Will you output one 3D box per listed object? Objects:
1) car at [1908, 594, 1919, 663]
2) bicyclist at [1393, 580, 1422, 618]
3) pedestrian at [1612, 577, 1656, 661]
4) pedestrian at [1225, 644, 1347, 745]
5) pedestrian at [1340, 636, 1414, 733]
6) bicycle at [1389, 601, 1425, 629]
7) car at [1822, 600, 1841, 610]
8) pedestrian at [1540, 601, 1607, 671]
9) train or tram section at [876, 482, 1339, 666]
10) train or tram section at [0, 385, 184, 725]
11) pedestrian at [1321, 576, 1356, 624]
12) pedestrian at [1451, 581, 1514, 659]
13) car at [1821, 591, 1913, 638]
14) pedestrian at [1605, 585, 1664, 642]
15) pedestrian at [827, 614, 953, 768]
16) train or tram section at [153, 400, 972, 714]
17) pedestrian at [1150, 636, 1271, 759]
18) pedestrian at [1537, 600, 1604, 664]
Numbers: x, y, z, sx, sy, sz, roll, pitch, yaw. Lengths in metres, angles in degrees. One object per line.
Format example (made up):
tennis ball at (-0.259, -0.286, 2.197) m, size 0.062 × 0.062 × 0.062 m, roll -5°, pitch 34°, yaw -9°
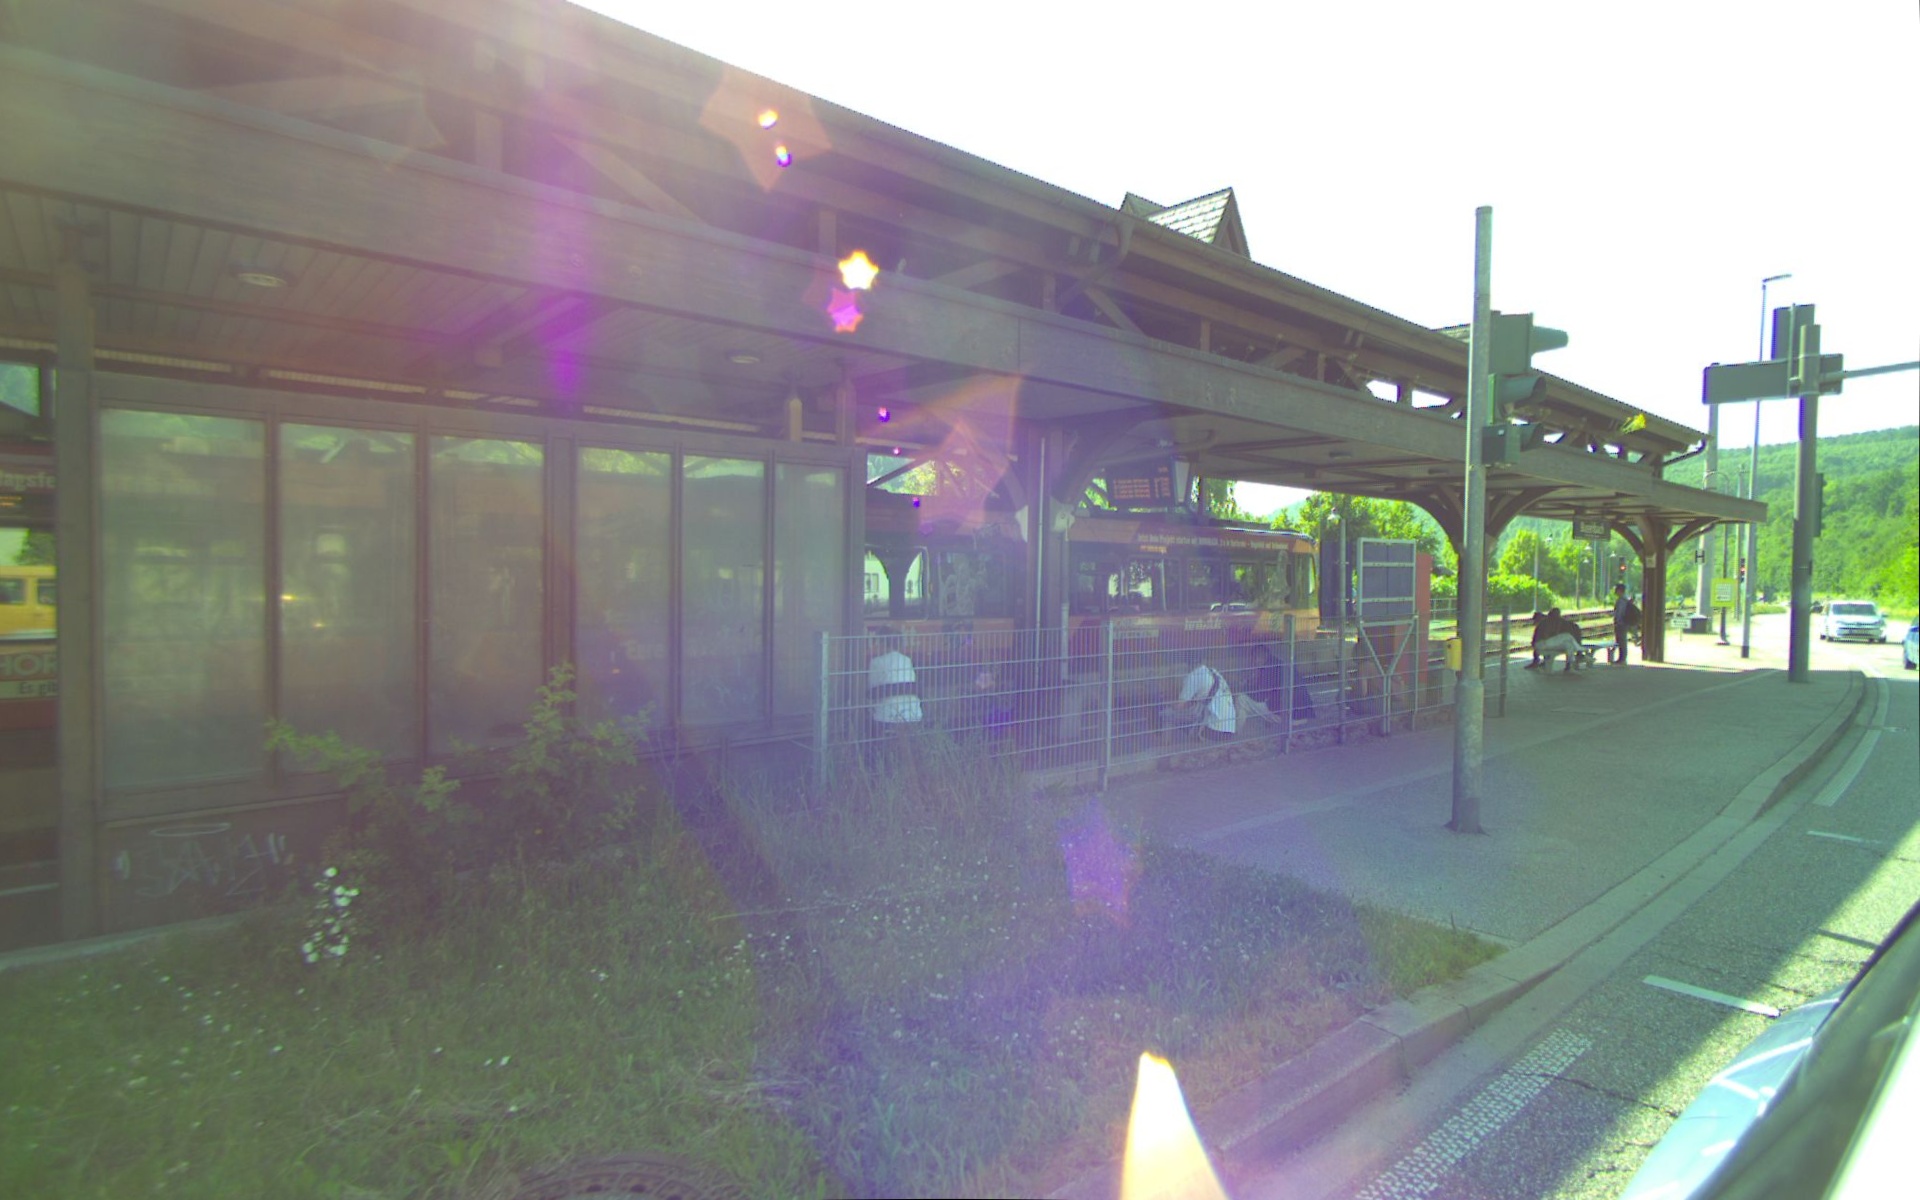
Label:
car at (21.441, 0.664, 21.169) m, size 1.856 × 1.501 × 4.244 m, roll 2°, pitch 2°, yaw 37°
bicyclist at (20.768, -0.027, 46.992) m, size 1.006 × 1.748 × 0.852 m, roll 0°, pitch -2°, yaw 43°
pedestrian at (14.138, 0.379, 21.217) m, size 0.656 × 1.713 × 0.729 m, roll 2°, pitch 1°, yaw 39°
pedestrian at (3.132, 0.878, 9.723) m, size 0.794 × 0.885 × 0.845 m, roll 2°, pitch -2°, yaw -44°
pedestrian at (4.437, 0.880, 10.772) m, size 0.400 × 0.978 × 0.617 m, roll 2°, pitch -2°, yaw -44°
bicycle at (20.768, 0.693, 46.985) m, size 0.870 × 1.270 × 2.260 m, roll 0°, pitch -2°, yaw 42°
car at (154.418, 0.868, 179.269) m, size 1.985 × 1.705 × 3.952 m, roll 0°, pitch -1°, yaw 33°
pedestrian at (11.325, 0.643, 18.673) m, size 0.989 × 1.251 × 0.588 m, roll 0°, pitch -2°, yaw 40°
train or tram section at (4.434, -0.517, 24.625) m, size 14.109 × 3.407 × 2.860 m, roll 0°, pitch 1°, yaw -42°
train or tram section at (-13.888, -0.487, 8.280) m, size 11.834 × 3.407 × 2.761 m, roll 1°, pitch -1°, yaw -40°
pedestrian at (13.799, 0.017, 36.909) m, size 0.805 × 1.705 × 0.905 m, roll 1°, pitch -1°, yaw -10°
pedestrian at (10.917, 0.408, 21.145) m, size 0.907 × 1.567 × 0.862 m, roll 2°, pitch 0°, yaw -43°
car at (32.873, 0.501, 36.789) m, size 1.987 × 1.605 × 3.949 m, roll 0°, pitch 0°, yaw 35°
pedestrian at (21.366, 0.420, 32.087) m, size 0.897 × 1.759 × 1.254 m, roll 1°, pitch -1°, yaw -19°
pedestrian at (-0.552, 0.679, 7.963) m, size 0.656 × 1.131 × 0.742 m, roll 2°, pitch -2°, yaw -44°
train or tram section at (-5.121, -0.512, 15.988) m, size 11.839 × 3.407 × 2.790 m, roll -1°, pitch 0°, yaw -41°
pedestrian at (2.203, 0.824, 8.894) m, size 0.756 × 0.995 × 0.742 m, roll 2°, pitch -2°, yaw -44°
pedestrian at (11.923, 0.607, 19.762) m, size 1.005 × 1.174 × 0.935 m, roll 1°, pitch 1°, yaw 39°
